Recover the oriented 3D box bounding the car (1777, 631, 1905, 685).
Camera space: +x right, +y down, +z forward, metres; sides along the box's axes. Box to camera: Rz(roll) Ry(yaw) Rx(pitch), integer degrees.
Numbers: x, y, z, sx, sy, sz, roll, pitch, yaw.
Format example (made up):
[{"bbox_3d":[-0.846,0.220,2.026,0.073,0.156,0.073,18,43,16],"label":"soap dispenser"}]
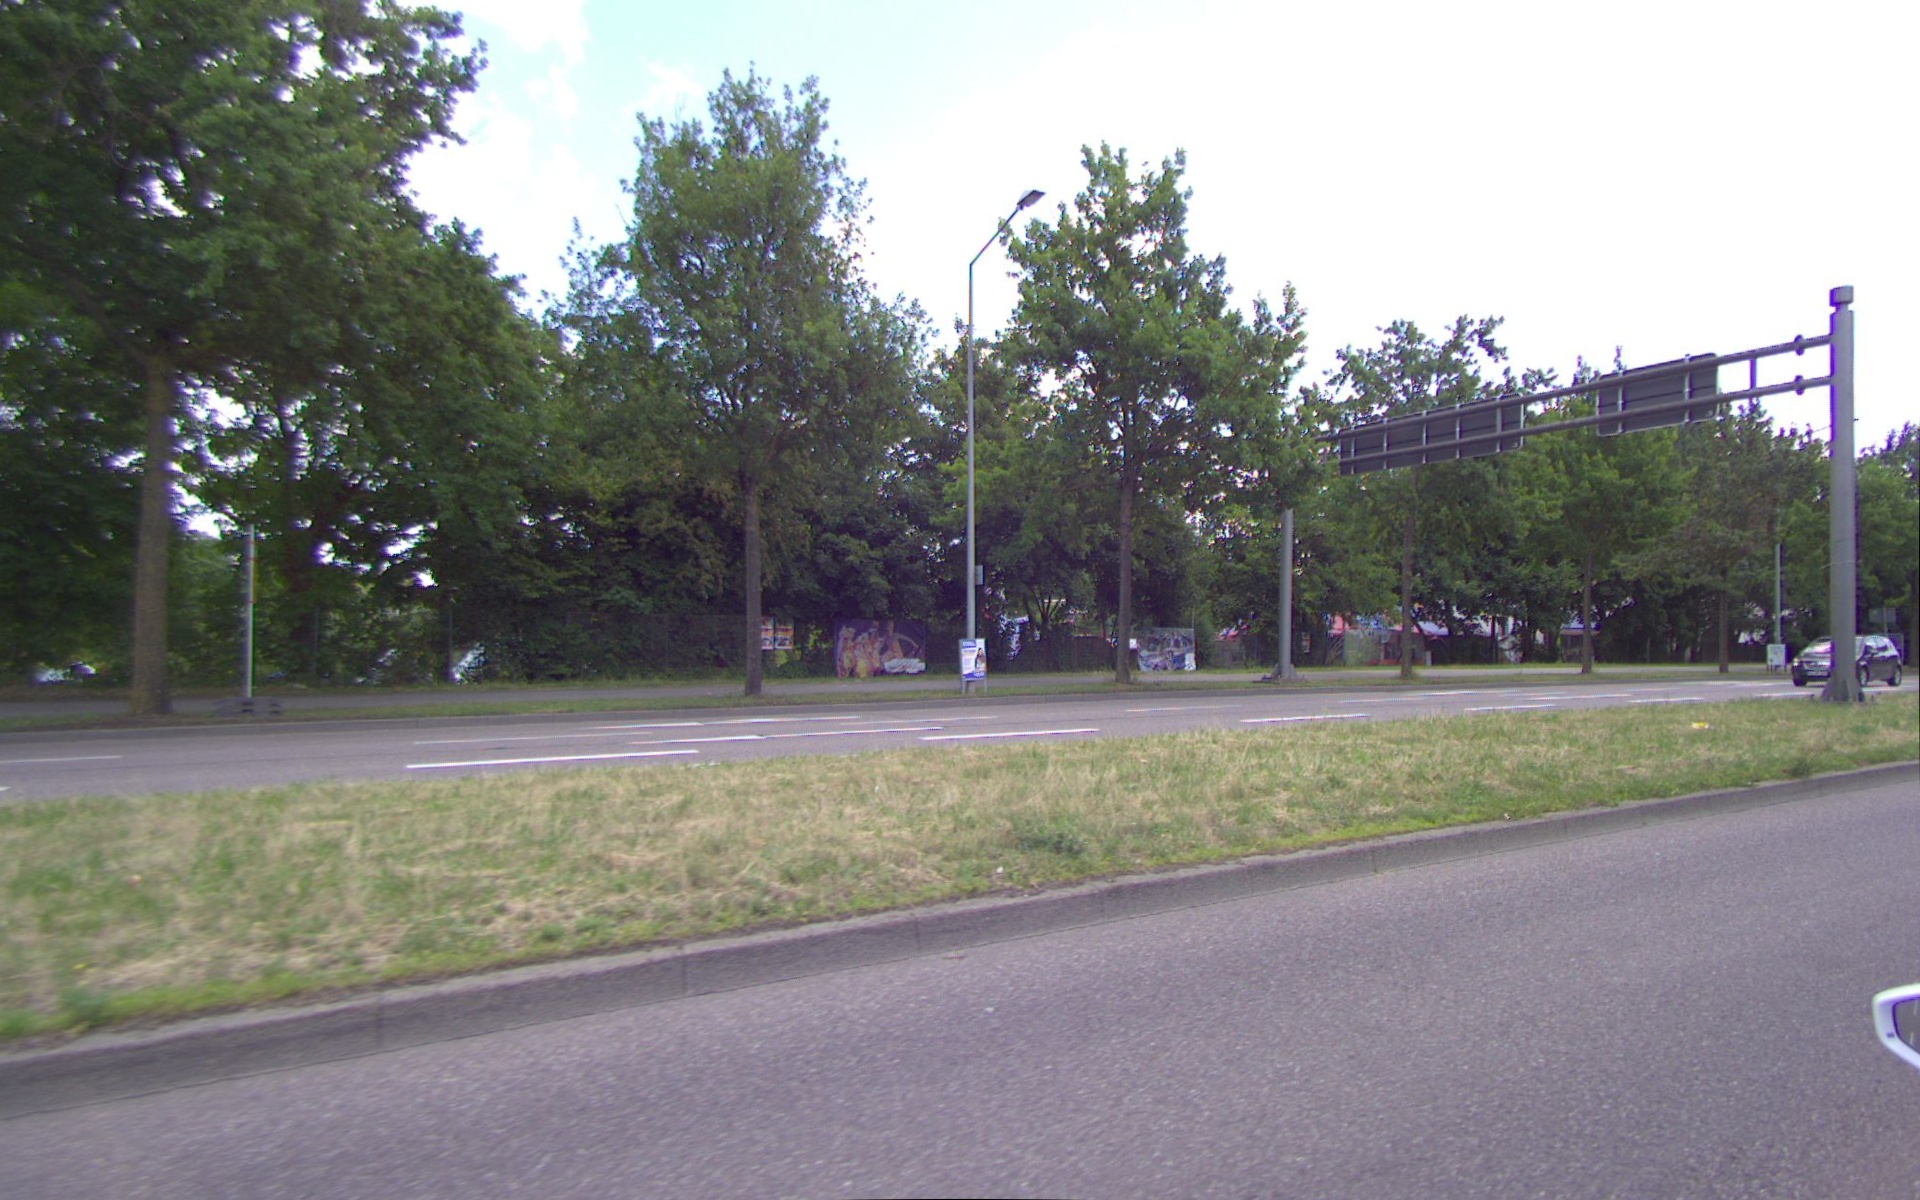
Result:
[{"bbox_3d":[27.684,1.811,31.543,4.225,1.589,1.734,2,-3,-30],"label":"car"}]
